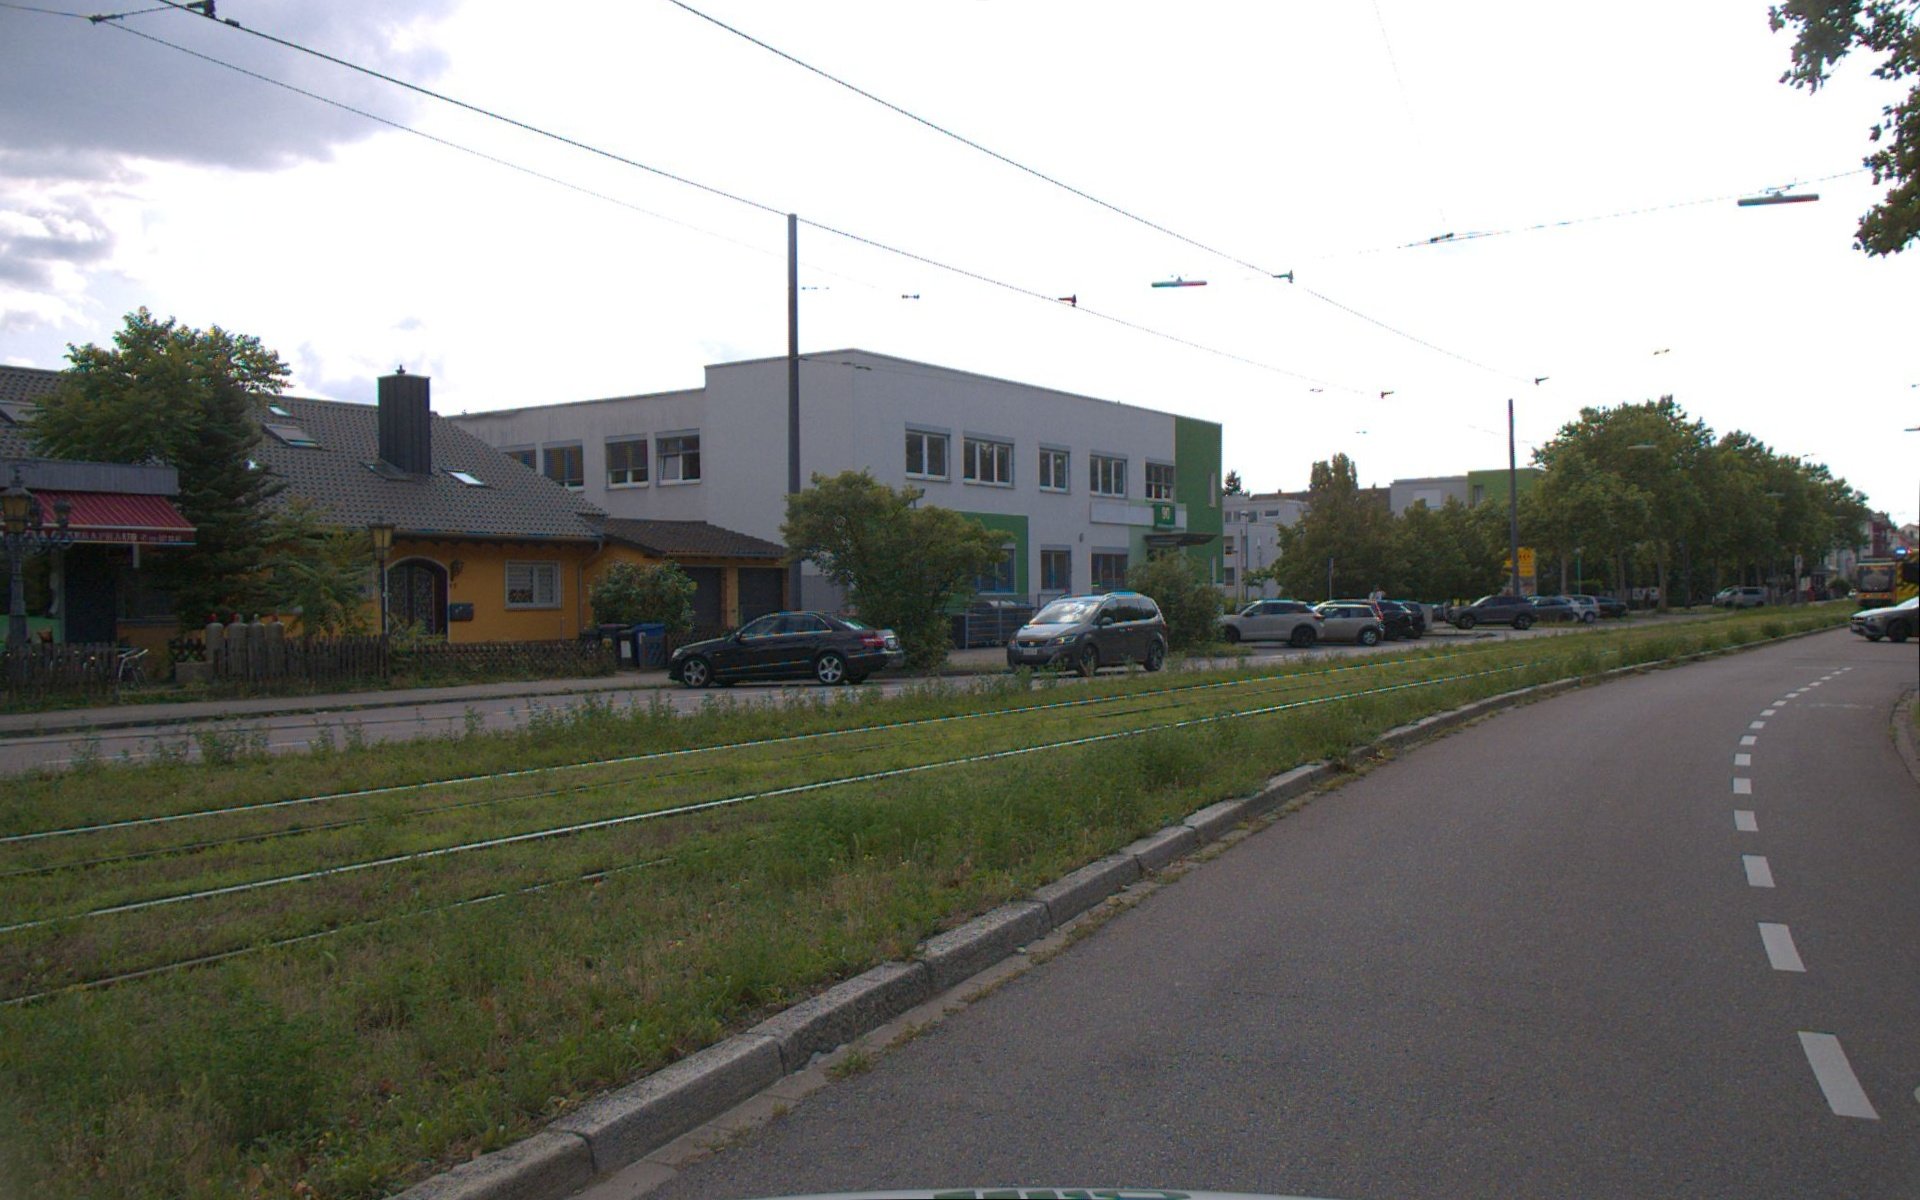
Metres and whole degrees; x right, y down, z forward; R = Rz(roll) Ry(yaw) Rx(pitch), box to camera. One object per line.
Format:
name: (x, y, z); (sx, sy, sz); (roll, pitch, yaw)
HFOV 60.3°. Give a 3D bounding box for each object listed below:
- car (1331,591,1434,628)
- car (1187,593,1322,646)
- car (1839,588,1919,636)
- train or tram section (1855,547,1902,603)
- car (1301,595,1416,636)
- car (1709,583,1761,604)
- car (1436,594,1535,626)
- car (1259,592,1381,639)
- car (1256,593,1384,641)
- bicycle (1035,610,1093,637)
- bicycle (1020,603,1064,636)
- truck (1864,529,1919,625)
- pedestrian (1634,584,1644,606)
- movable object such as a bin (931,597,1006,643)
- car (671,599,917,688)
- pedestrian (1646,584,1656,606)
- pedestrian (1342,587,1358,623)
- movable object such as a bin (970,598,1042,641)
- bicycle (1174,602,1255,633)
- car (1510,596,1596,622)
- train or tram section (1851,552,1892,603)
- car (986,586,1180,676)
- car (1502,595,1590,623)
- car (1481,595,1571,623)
car: (17.575, 0.394, 68.997); (4.068, 1.530, 1.862); (0, 0, 11)
car: (9.895, 0.651, 55.844); (4.213, 1.658, 1.902); (-1, 0, 0)
car: (28.917, 0.343, 49.216); (4.493, 1.418, 1.843); (0, 0, 11)
train or tram section: (61.833, -1.655, 111.400); (2.439, 3.659, 7.413); (-1, 0, 27)
car: (15.201, 0.599, 63.297); (4.068, 1.530, 1.862); (0, 0, 6)
car: (71.652, -0.596, 152.976); (3.904, 1.870, 1.822); (1, 0, 2)
car: (24.733, 0.465, 77.930); (4.209, 1.387, 1.904); (-1, 0, 9)
car: (13.215, 0.565, 60.905); (4.210, 1.658, 1.903); (0, 0, 5)
car: (12.668, 0.599, 58.338); (4.210, 1.658, 1.903); (0, 0, 5)
bicycle: (3.864, 0.885, 61.664); (2.117, 0.987, 0.728); (-1, 0, 38)
bicycle: (2.976, 0.710, 60.417); (0.699, 1.186, 1.597); (-1, 0, -40)
truck: (35.692, -0.859, 61.320); (3.128, 3.375, 7.500); (-1, 0, 34)
pedestrian: (55.949, -0.431, 136.289); (0.609, 1.759, 0.644); (1, 0, 33)
movable object such as a bin: (0.263, 0.616, 51.404); (1.349, 1.350, 2.109); (-1, 0, 37)
car: (-3.310, 0.864, 33.291); (4.467, 1.608, 2.002); (-2, 0, 13)
pedestrian: (57.099, -0.414, 136.718); (0.609, 1.759, 0.644); (1, 0, 33)
pedestrian: (18.163, 0.230, 76.985); (0.584, 1.704, 0.541); (-1, 0, 24)
movable object such as a bin: (1.498, 0.622, 53.204); (1.349, 1.350, 2.123); (-1, 0, 37)
bicycle: (10.476, 0.720, 68.030); (3.075, 1.186, 1.140); (-1, 0, 29)
car: (32.911, 0.489, 91.887); (4.209, 1.387, 1.904); (-1, 0, 11)
train or tram section: (68.586, -1.653, 124.532); (2.439, 3.659, 7.413); (-1, 0, 27)
car: (2.707, 0.613, 35.380); (1.960, 1.752, 4.723); (-1, 0, 36)
car: (31.702, 0.487, 89.591); (4.209, 1.387, 1.904); (-1, 0, 11)
car: (29.723, 0.478, 86.930); (4.209, 1.387, 1.904); (-1, 0, 11)
